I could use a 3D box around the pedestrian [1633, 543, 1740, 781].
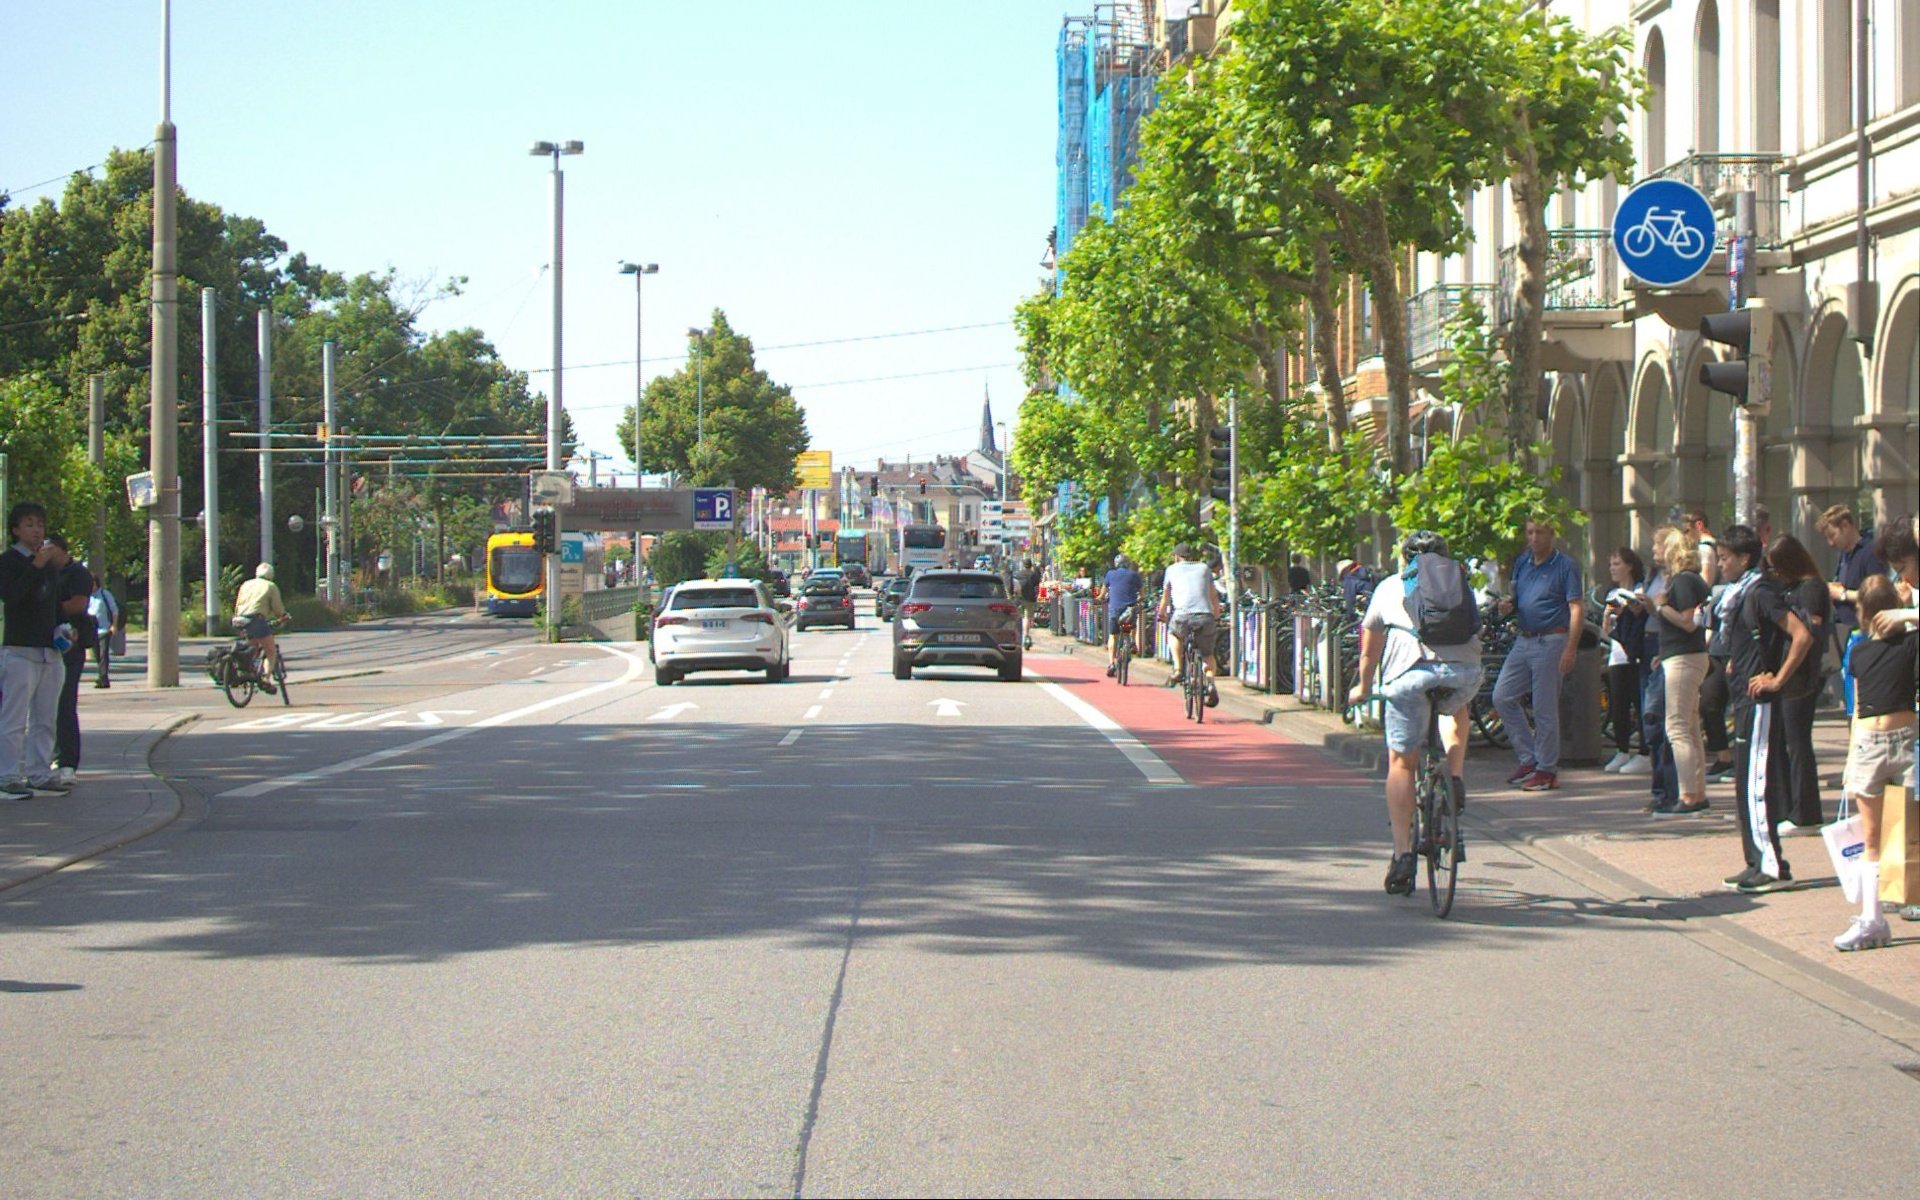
[{"bbox_3d":[4.953,0.420,23.428,0.531,1.590,0.611,-2,-1,26],"label":"pedestrian"}]

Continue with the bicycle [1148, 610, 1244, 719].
[{"bbox_3d":[2.351,0.632,34.492,0.774,1.002,2.329,0,1,-1],"label":"bicycle"}]

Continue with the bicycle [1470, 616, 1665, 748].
[{"bbox_3d":[4.706,0.635,26.682,1.420,0.976,0.445,-1,1,0],"label":"bicycle"}]

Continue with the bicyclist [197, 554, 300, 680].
[{"bbox_3d":[-8.598,0.198,41.561,0.739,1.497,1.051,1,1,25],"label":"bicyclist"}]

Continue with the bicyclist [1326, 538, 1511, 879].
[{"bbox_3d":[2.062,0.466,15.576,0.630,1.476,1.198,1,0,-1],"label":"bicyclist"}]

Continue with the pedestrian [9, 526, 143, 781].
[{"bbox_3d":[-5.871,0.348,22.840,0.618,1.662,0.591,0,0,29],"label":"pedestrian"}]

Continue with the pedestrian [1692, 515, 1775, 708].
[{"bbox_3d":[7.238,0.107,32.203,0.628,1.785,0.612,0,0,-1],"label":"pedestrian"}]

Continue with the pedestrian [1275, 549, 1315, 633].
[{"bbox_3d":[6.306,-0.175,64.715,0.675,1.567,0.612,0,0,-2],"label":"pedestrian"}]

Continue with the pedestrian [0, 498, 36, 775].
[{"bbox_3d":[-6.579,0.237,22.715,0.618,1.817,0.662,0,0,29],"label":"pedestrian"}]

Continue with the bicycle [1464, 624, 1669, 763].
[{"bbox_3d":[4.476,0.686,25.398,1.420,0.976,0.445,-1,1,0],"label":"bicycle"}]

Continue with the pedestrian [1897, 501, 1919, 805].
[{"bbox_3d":[5.990,0.317,20.461,0.610,1.800,0.678,0,0,-2],"label":"pedestrian"}]

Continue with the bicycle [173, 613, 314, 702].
[{"bbox_3d":[-8.636,0.682,41.528,0.678,1.022,1.965,1,1,22],"label":"bicycle"}]

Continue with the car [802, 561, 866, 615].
[{"bbox_3d":[-3.718,-0.375,101.739,1.845,1.554,4.000,0,1,-2],"label":"car"}]

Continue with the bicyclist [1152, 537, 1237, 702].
[{"bbox_3d":[2.346,0.189,34.467,0.774,1.629,0.851,0,1,-1],"label":"bicyclist"}]

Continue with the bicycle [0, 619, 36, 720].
[{"bbox_3d":[-10.151,0.685,33.657,2.081,0.976,0.685,-1,0,-12],"label":"bicycle"}]

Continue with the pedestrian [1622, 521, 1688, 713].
[{"bbox_3d":[6.510,0.154,32.208,0.477,1.785,0.612,0,0,-1],"label":"pedestrian"}]

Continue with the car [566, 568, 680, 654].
[{"bbox_3d":[-6.226,0.183,63.867,1.845,1.554,4.000,0,0,-2],"label":"car"}]

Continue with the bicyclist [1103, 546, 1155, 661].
[{"bbox_3d":[2.293,0.047,46.786,0.647,1.545,0.817,0,1,-1],"label":"bicyclist"}]

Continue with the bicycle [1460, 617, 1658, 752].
[{"bbox_3d":[4.560,0.642,26.220,1.420,0.976,0.445,-1,1,0],"label":"bicycle"}]

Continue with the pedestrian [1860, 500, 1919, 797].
[{"bbox_3d":[5.955,0.293,21.190,0.610,1.800,0.678,0,0,-2],"label":"pedestrian"}]

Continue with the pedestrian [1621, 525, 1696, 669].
[{"bbox_3d":[7.693,-0.035,37.864,0.675,1.567,0.612,0,0,-2],"label":"pedestrian"}]

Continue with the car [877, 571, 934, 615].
[{"bbox_3d":[-1.843,-0.238,114.547,1.845,1.409,4.000,0,1,-2],"label":"car"}]

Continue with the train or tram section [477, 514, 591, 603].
[{"bbox_3d":[-16.746,-1.648,135.869,2.613,3.337,11.001,0,1,3],"label":"train or tram section"}]

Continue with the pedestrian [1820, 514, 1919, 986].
[{"bbox_3d":[3.787,0.550,13.247,0.671,1.763,0.678,-3,0,-2],"label":"pedestrian"}]

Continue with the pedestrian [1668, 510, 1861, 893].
[{"bbox_3d":[3.798,0.469,16.259,0.610,1.733,0.678,-4,0,-2],"label":"pedestrian"}]

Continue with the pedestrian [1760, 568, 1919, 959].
[{"bbox_3d":[3.693,0.643,13.942,0.610,1.510,0.678,-4,0,-2],"label":"pedestrian"}]

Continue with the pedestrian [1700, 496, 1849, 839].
[{"bbox_3d":[4.395,0.360,18.580,0.610,1.817,0.678,0,0,-2],"label":"pedestrian"}]

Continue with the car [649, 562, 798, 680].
[{"bbox_3d":[-3.299,0.265,48.608,1.845,1.554,4.000,-1,1,-1],"label":"car"}]

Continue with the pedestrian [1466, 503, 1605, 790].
[{"bbox_3d":[3.899,0.307,23.266,0.688,1.891,0.611,-3,0,26],"label":"pedestrian"}]

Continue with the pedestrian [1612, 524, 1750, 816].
[{"bbox_3d":[4.243,0.406,20.253,0.582,1.668,0.605,-3,0,-2],"label":"pedestrian"}]

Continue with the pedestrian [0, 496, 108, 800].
[{"bbox_3d":[-5.741,0.286,21.145,0.633,1.828,0.730,0,0,29],"label":"pedestrian"}]

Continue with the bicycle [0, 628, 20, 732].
[{"bbox_3d":[-9.979,0.763,32.469,2.081,0.976,0.685,-1,0,-12],"label":"bicycle"}]

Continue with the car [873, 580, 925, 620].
[{"bbox_3d":[-2.226,-0.012,125.340,1.845,1.409,4.000,0,1,-2],"label":"car"}]

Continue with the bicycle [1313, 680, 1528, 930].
[{"bbox_3d":[2.056,0.893,15.601,0.630,0.976,2.089,1,1,-2],"label":"bicycle"}]

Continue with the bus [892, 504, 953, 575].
[{"bbox_3d":[-2.012,-3.115,180.373,2.994,3.582,11.745,0,0,-2],"label":"bus"}]

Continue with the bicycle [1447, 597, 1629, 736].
[{"bbox_3d":[4.785,0.548,28.492,1.420,1.110,0.401,-1,1,0],"label":"bicycle"}]

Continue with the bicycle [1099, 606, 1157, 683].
[{"bbox_3d":[2.277,0.592,46.720,0.647,0.994,2.031,0,1,-1],"label":"bicycle"}]

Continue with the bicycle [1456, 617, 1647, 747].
[{"bbox_3d":[4.665,0.640,27.137,1.420,0.976,0.445,-1,1,0],"label":"bicycle"}]

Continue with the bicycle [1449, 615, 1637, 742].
[{"bbox_3d":[4.680,0.625,27.630,1.420,0.976,0.445,-1,1,0],"label":"bicycle"}]

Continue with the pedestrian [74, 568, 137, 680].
[{"bbox_3d":[-12.464,0.347,50.181,0.771,1.623,0.612,0,0,-1],"label":"pedestrian"}]

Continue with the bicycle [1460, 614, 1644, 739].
[{"bbox_3d":[4.830,0.618,28.066,1.420,0.976,0.401,-1,1,0],"label":"bicycle"}]

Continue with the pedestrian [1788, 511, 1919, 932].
[{"bbox_3d":[4.031,0.502,14.835,0.610,1.753,0.678,-4,0,-2],"label":"pedestrian"}]

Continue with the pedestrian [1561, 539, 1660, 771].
[{"bbox_3d":[4.607,0.378,24.320,0.531,1.589,0.611,0,3,26],"label":"pedestrian"}]

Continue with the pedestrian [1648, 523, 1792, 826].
[{"bbox_3d":[4.323,0.415,19.585,0.582,1.668,0.605,-3,0,-2],"label":"pedestrian"}]

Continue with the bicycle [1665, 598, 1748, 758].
[{"bbox_3d":[5.574,0.565,25.634,0.400,1.110,1.424,-1,2,20],"label":"bicycle"}]

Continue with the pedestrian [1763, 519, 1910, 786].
[{"bbox_3d":[5.701,0.332,22.377,0.610,1.699,0.678,-1,1,-29],"label":"pedestrian"}]

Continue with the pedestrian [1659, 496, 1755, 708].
[{"bbox_3d":[6.367,0.014,29.321,0.675,1.785,0.612,0,0,-1],"label":"pedestrian"}]

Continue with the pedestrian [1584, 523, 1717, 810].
[{"bbox_3d":[4.202,0.395,20.938,0.582,1.694,0.605,-3,0,-2],"label":"pedestrian"}]

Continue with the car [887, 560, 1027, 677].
[{"bbox_3d":[-0.080,0.229,48.704,1.845,1.554,4.000,0,1,-2],"label":"car"}]

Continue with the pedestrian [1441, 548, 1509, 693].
[{"bbox_3d":[5.938,0.237,39.645,0.675,1.659,0.612,0,0,-2],"label":"pedestrian"}]
